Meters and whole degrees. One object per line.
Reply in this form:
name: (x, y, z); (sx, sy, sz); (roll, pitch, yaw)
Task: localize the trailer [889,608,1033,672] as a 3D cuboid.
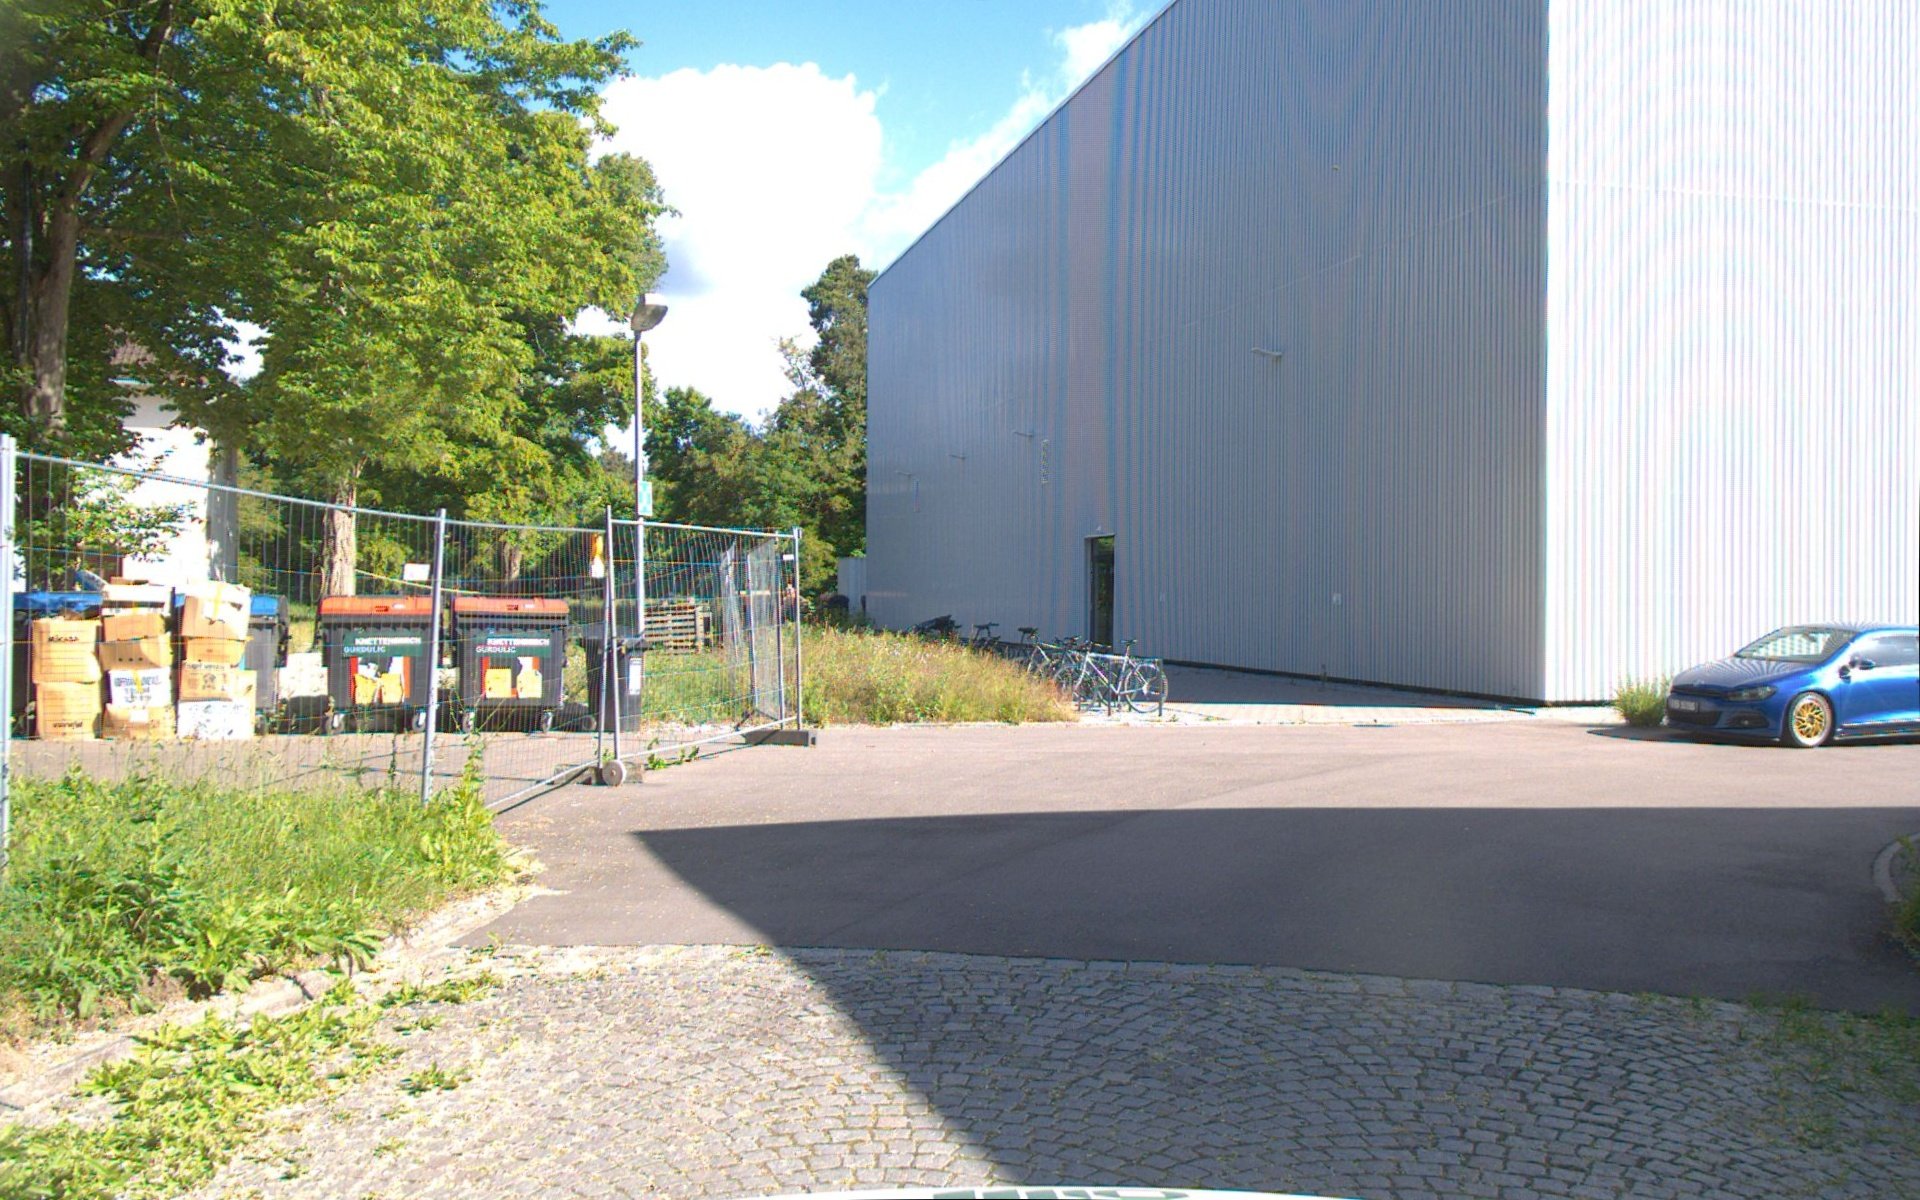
trailer: (0.017, 0.775, 33.141); (2.667, 1.221, 1.240); (0, 0, -16)

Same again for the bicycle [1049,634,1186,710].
bicycle: (2.177, 0.984, 22.822); (1.853, 0.995, 0.431); (0, 0, -16)

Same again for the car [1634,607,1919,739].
car: (10.228, 0.824, 19.455); (4.088, 1.408, 1.747); (1, 0, -17)

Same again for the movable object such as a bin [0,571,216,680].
movable object such as a bin: (-17.090, 0.468, 31.895); (4.795, 2.005, 1.923); (0, 0, -18)

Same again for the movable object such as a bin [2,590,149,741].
movable object such as a bin: (-8.894, 0.636, 16.687); (1.065, 1.463, 1.052); (0, 0, -13)

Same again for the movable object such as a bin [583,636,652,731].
movable object such as a bin: (-3.790, 0.915, 18.320); (0.628, 1.025, 0.605); (0, 0, 0)

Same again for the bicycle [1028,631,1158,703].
bicycle: (1.927, 0.967, 23.956); (1.853, 0.995, 0.431); (0, 0, -16)

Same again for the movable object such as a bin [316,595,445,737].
movable object such as a bin: (-6.185, 0.679, 17.735); (1.267, 1.451, 1.027); (0, 0, -18)

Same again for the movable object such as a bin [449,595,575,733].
movable object such as a bin: (-4.930, 0.676, 18.161); (1.268, 1.451, 1.027); (0, 0, -19)

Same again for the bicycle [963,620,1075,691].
bicycle: (0.993, 0.922, 27.842); (1.853, 1.145, 0.431); (0, 0, -16)

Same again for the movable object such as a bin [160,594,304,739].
movable object such as a bin: (-7.598, 0.667, 17.337); (1.267, 1.451, 1.027); (0, 0, -18)

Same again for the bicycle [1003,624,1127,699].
bicycle: (1.607, 0.926, 25.261); (1.853, 1.101, 0.431); (0, 0, -16)

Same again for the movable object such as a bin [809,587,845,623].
movable object such as a bin: (-6.315, 0.242, 78.296); (1.339, 1.685, 2.833); (0, 0, -13)
